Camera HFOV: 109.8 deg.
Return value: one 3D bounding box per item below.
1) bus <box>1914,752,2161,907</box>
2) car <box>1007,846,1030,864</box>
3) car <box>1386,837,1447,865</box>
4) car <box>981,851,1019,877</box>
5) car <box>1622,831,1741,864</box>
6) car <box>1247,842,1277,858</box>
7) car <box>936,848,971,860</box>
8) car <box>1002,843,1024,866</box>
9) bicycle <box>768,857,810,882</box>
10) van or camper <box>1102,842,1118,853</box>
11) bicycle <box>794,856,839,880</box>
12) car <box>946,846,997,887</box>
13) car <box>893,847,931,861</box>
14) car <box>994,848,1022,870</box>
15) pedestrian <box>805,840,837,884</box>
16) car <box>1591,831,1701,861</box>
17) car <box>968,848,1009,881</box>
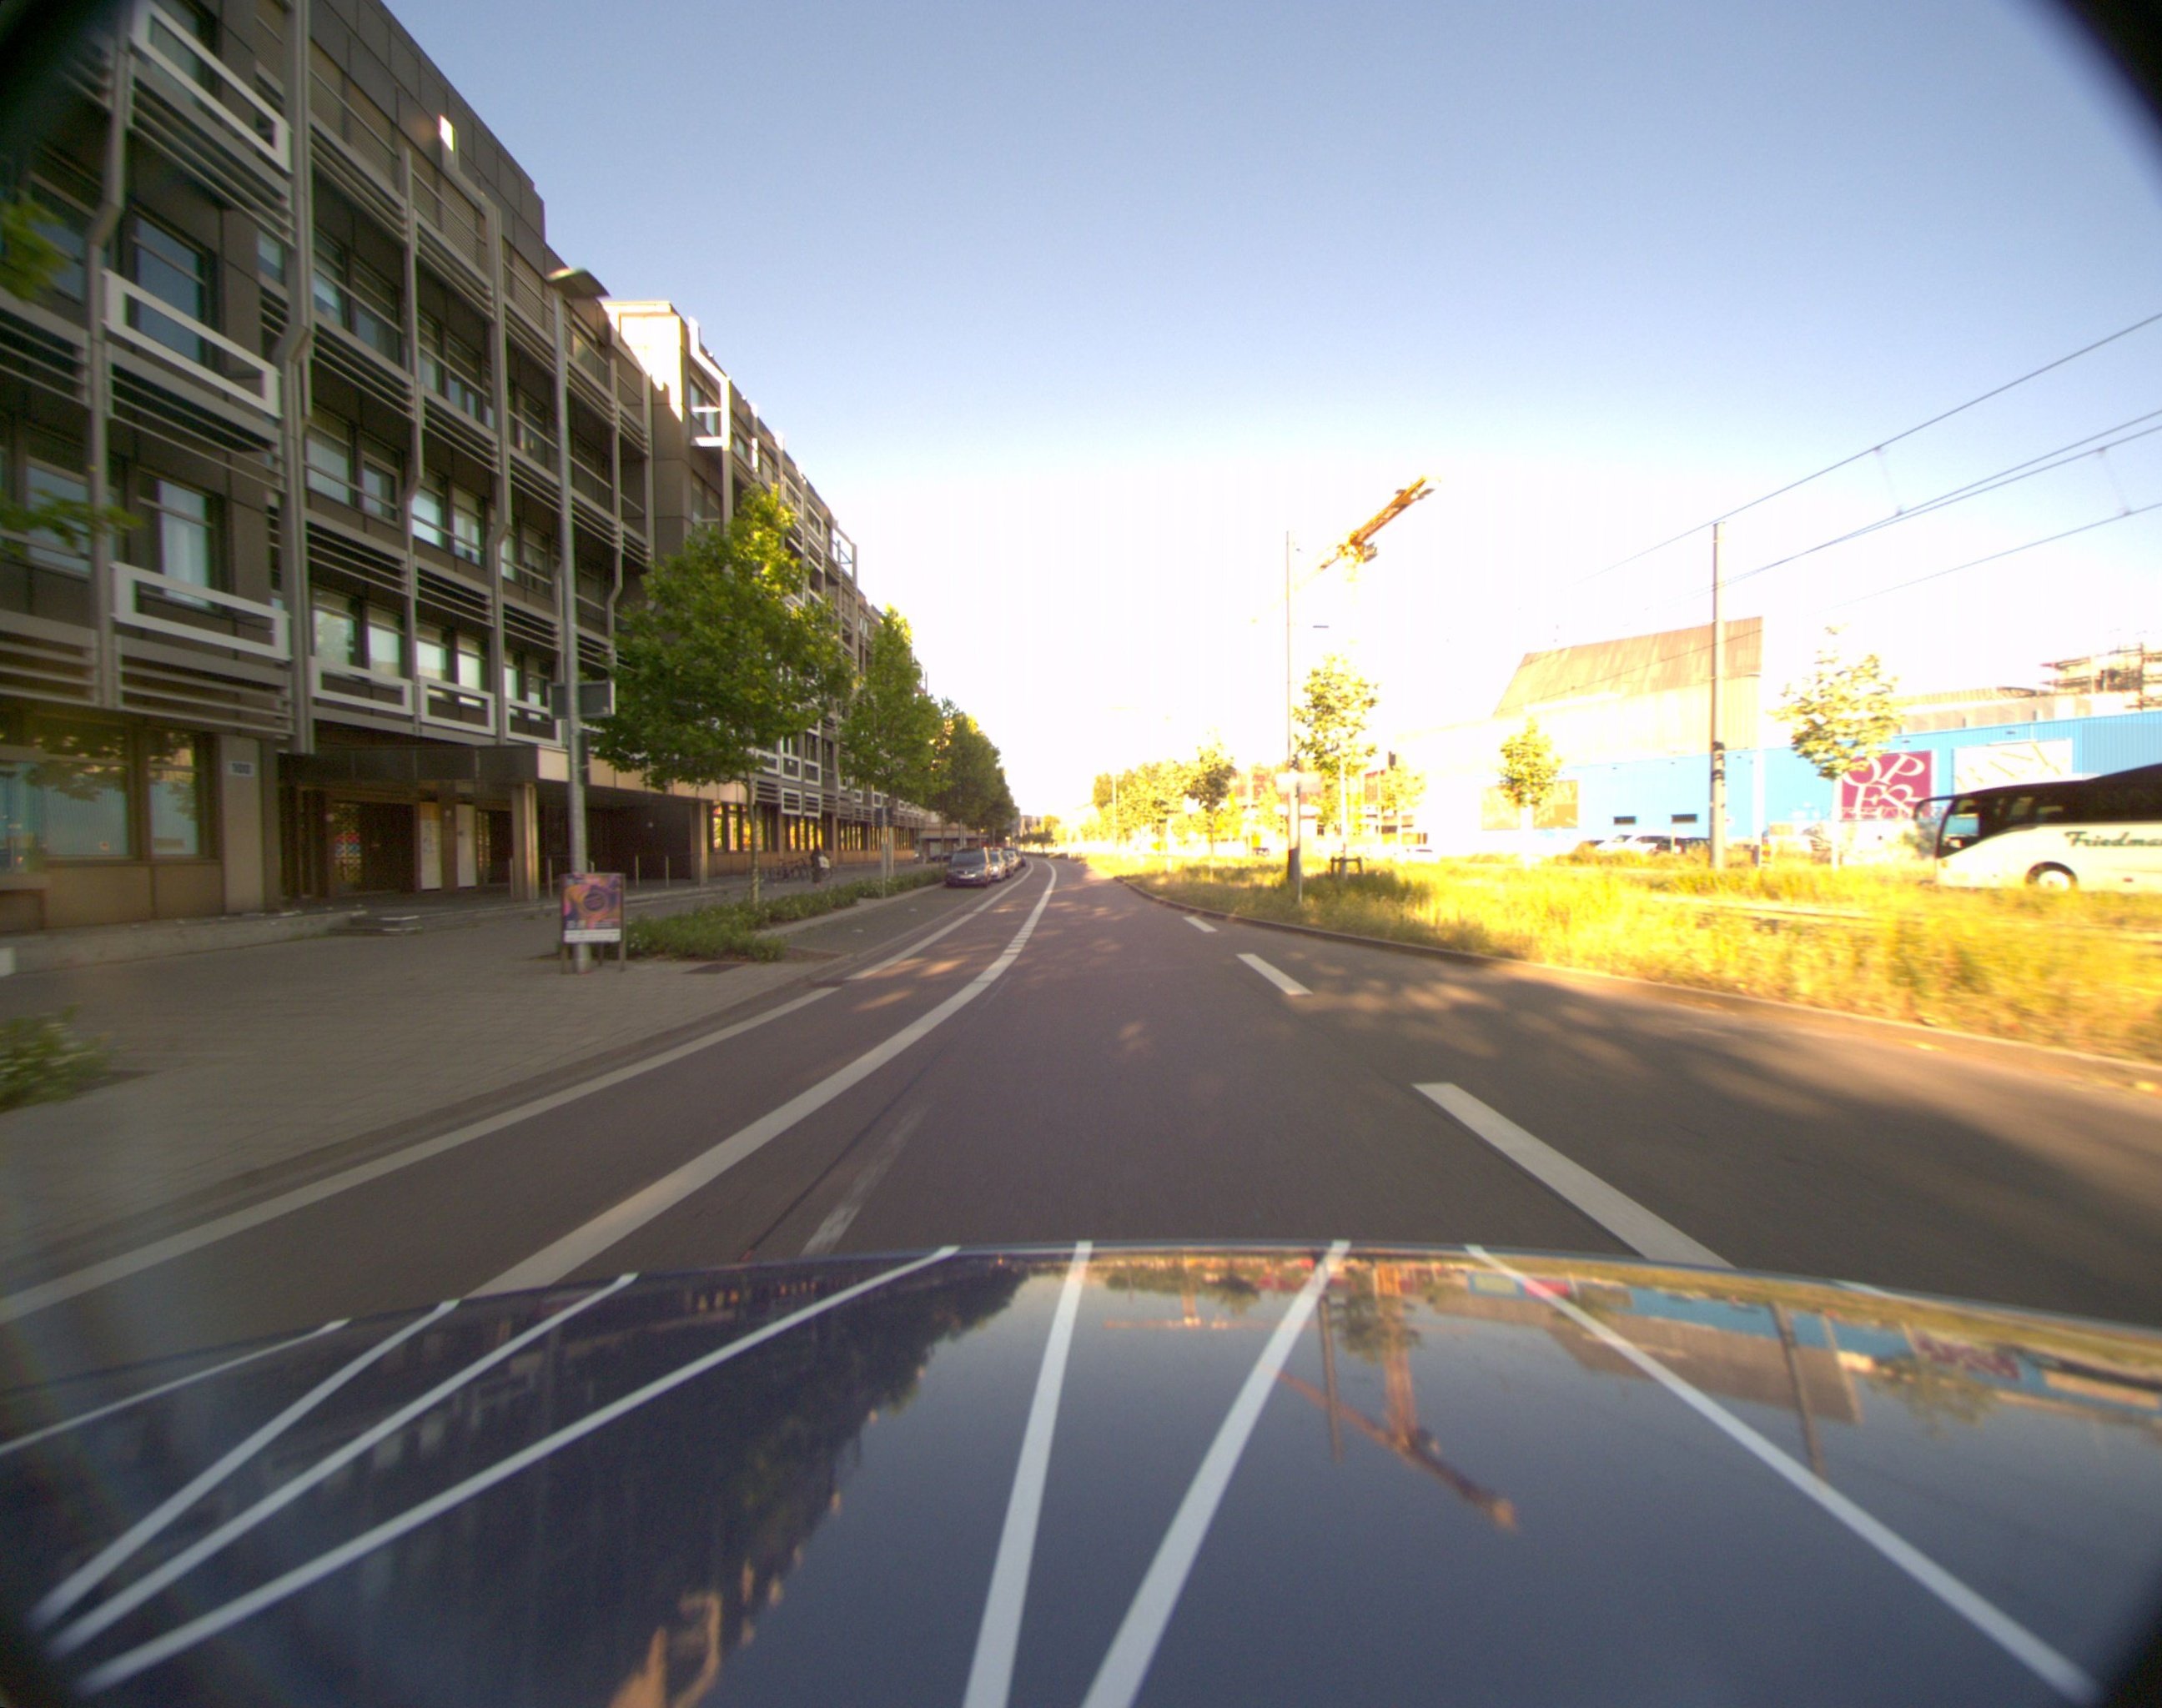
[{"bbox_3d":[26.299,-0.578,16.299,2.806,3.574,12.695,-1,1,-1],"label":"bus"},{"bbox_3d":[-6.107,0.063,73.556,1.937,1.589,4.695,1,0,-7],"label":"car"},{"bbox_3d":[21.276,-0.194,48.366,1.999,1.633,4.166,-1,1,-1],"label":"car"},{"bbox_3d":[-4.768,0.553,45.232,1.799,1.441,4.375,1,0,-1],"label":"car"},{"bbox_3d":[34.282,-0.376,43.483,5.241,1.707,2.124,-1,1,-2],"label":"car"},{"bbox_3d":[18.990,-0.457,79.940,1.999,1.641,4.269,-1,1,-2],"label":"car"},{"bbox_3d":[-16.472,-0.033,97.965,4.276,1.442,1.860,-1,2,-13],"label":"car"},{"bbox_3d":[-5.921,-0.007,66.158,1.739,1.908,4.391,1,1,-4],"label":"car"},{"bbox_3d":[-12.500,0.670,32.502,1.631,1.076,0.392,0,1,1],"label":"bicycle"},{"bbox_3d":[6.539,-1.423,170.514,2.229,2.495,7.195,1,0,-8],"label":"van or camper"},{"bbox_3d":[-12.128,0.627,34.850,1.905,1.086,0.392,0,1,-6],"label":"bicycle"},{"bbox_3d":[-4.797,0.516,33.744,1.732,1.678,4.513,1,0,-2],"label":"car"},{"bbox_3d":[-21.537,0.021,96.807,4.556,1.586,1.860,-1,2,-13],"label":"car"},{"bbox_3d":[-5.385,0.340,56.315,1.668,1.481,4.203,1,0,-1],"label":"car"},{"bbox_3d":[-9.812,0.293,28.687,0.791,1.639,1.136,0,1,0],"label":"pedestrian"},{"bbox_3d":[34.324,-0.468,46.261,5.241,1.707,2.124,-1,1,-2],"label":"car"},{"bbox_3d":[-4.772,0.509,39.798,1.732,1.612,4.215,1,0,-2],"label":"car"}]
